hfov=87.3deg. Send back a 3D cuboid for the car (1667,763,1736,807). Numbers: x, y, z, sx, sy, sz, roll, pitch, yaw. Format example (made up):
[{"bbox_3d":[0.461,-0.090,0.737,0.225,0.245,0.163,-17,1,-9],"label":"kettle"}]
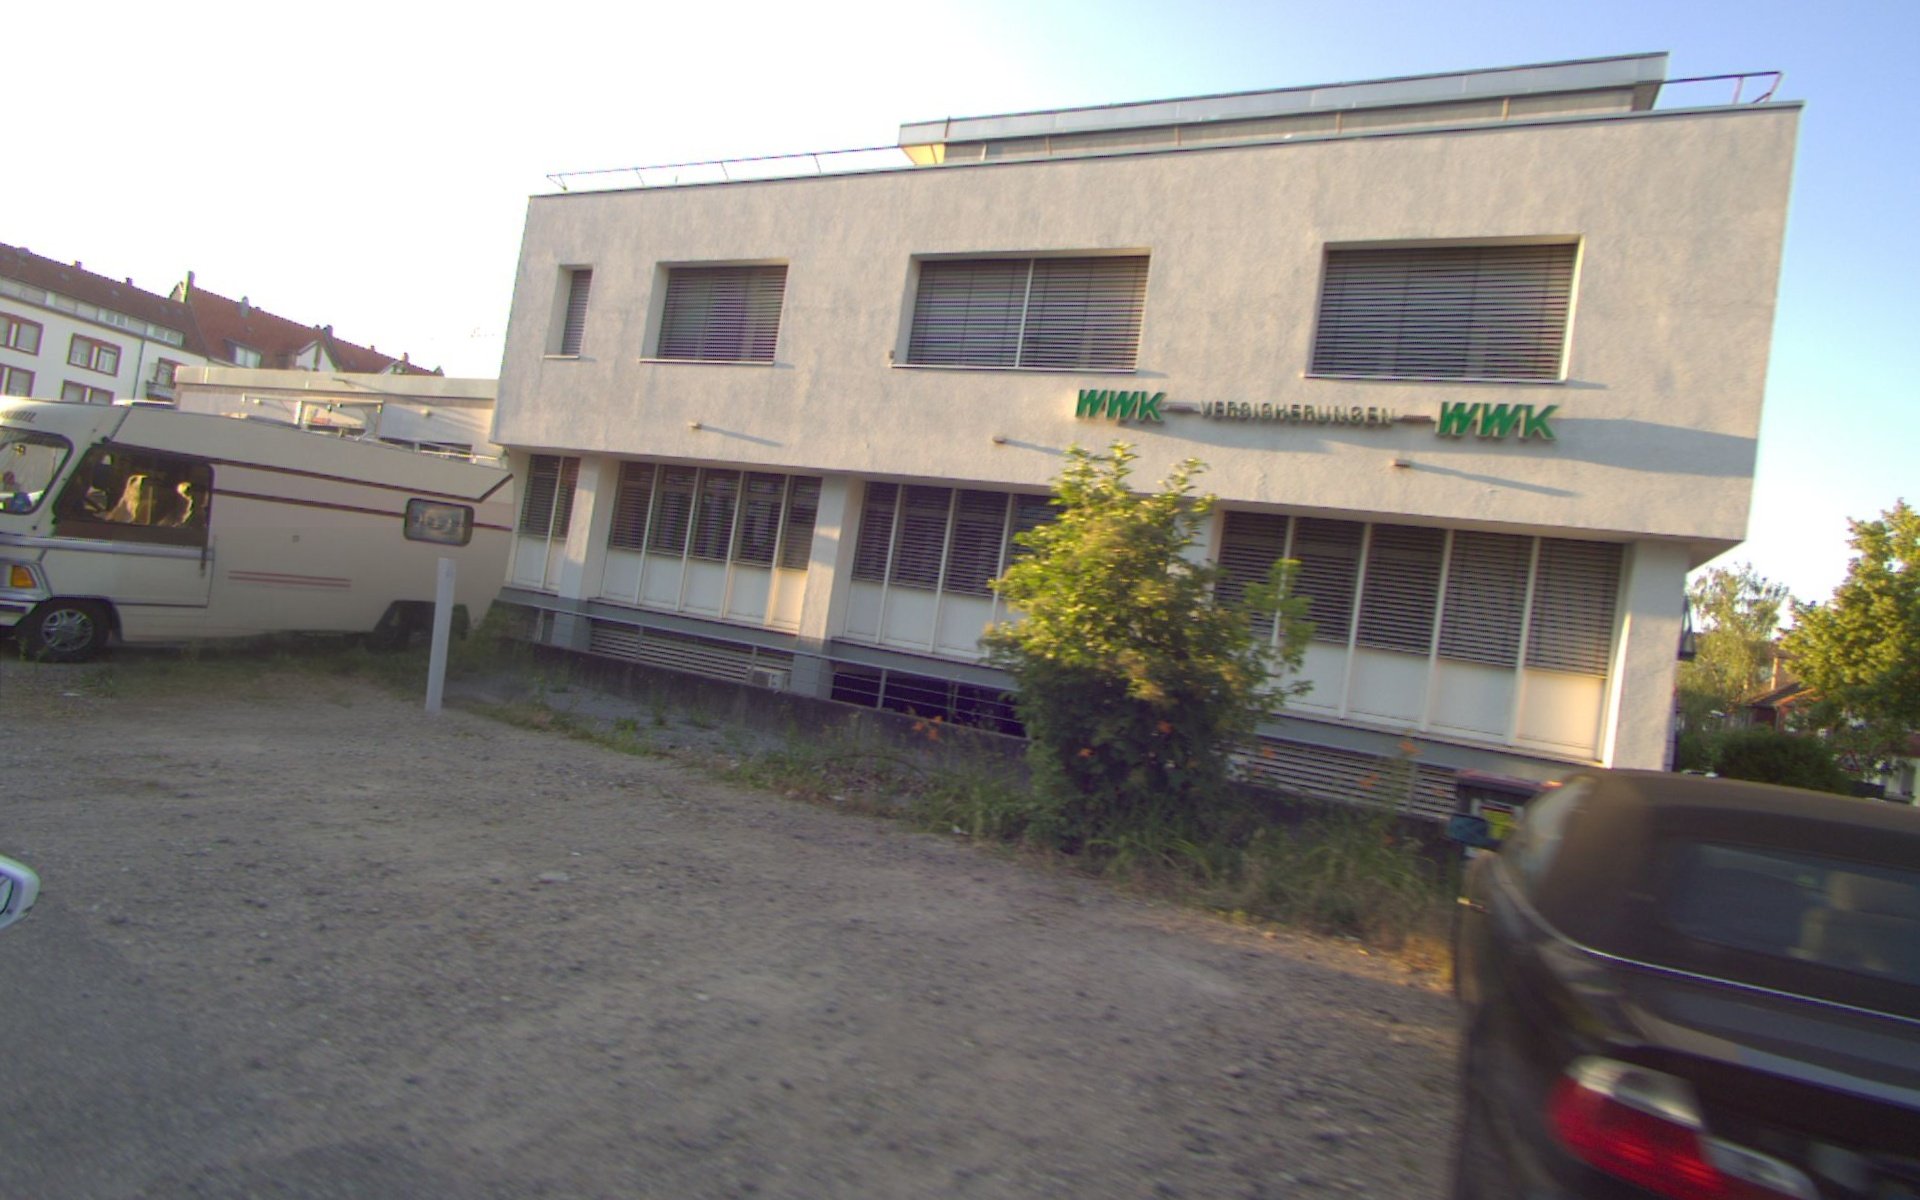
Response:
[{"bbox_3d":[36.430,9.050,49.514,1.777,1.572,3.612,9,-2,24],"label":"car"}]

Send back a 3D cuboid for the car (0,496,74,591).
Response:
[{"bbox_3d":[-17.245,-1.160,16.427,1.682,1.496,3.716,7,-2,27],"label":"car"}]

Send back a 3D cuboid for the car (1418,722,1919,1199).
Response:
[{"bbox_3d":[2.649,1.250,3.337,1.863,1.348,4.328,7,-2,27],"label":"car"}]

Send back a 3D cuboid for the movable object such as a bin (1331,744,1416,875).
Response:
[{"bbox_3d":[3.410,1.703,8.281,0.517,0.942,0.468,7,-1,26],"label":"movable object such as a bin"}]

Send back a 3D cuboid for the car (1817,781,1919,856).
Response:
[{"bbox_3d":[26.387,6.225,28.469,1.922,1.572,4.267,9,-2,24],"label":"car"}]

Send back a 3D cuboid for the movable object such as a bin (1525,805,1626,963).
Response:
[{"bbox_3d":[3.974,1.816,6.521,0.389,0.867,0.501,7,-2,22],"label":"movable object such as a bin"}]

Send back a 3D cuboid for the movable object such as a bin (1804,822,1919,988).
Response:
[{"bbox_3d":[6.246,2.070,6.897,0.517,0.942,0.468,7,-1,26],"label":"movable object such as a bin"}]

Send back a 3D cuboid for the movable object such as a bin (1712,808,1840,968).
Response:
[{"bbox_3d":[5.750,2.009,7.113,0.517,0.942,0.468,7,-1,26],"label":"movable object such as a bin"}]

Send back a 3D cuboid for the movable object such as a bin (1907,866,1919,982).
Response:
[{"bbox_3d":[6.727,2.126,6.622,0.517,0.942,0.468,7,-1,26],"label":"movable object such as a bin"}]

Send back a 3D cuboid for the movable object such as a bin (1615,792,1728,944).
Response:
[{"bbox_3d":[5.229,1.948,7.416,0.517,0.942,0.468,7,-1,26],"label":"movable object such as a bin"}]

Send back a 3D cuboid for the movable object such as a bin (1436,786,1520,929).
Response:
[{"bbox_3d":[3.641,1.796,7.095,0.389,0.867,0.478,7,-2,22],"label":"movable object such as a bin"}]

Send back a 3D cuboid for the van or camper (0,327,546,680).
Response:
[{"bbox_3d":[-8.176,-0.750,11.627,2.444,2.897,5.797,7,-2,28],"label":"van or camper"}]

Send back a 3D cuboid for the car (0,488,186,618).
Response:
[{"bbox_3d":[-13.607,-0.786,14.033,1.681,1.581,4.018,7,-2,25],"label":"car"}]

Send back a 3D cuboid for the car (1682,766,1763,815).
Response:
[{"bbox_3d":[34.272,8.515,45.316,1.922,1.572,3.612,9,-2,24],"label":"car"}]

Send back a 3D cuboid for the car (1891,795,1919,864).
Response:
[{"bbox_3d":[24.228,5.743,23.844,1.922,1.572,3.612,9,-2,24],"label":"car"}]

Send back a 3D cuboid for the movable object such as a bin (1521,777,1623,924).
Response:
[{"bbox_3d":[4.596,1.866,7.585,0.517,0.942,0.468,7,-1,26],"label":"movable object such as a bin"}]

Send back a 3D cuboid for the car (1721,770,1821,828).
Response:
[{"bbox_3d":[31.210,7.616,38.841,1.922,1.572,3.612,9,-2,24],"label":"car"}]

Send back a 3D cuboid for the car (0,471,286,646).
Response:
[{"bbox_3d":[-11.183,-0.563,12.377,1.935,1.761,4.248,6,-2,33],"label":"car"}]

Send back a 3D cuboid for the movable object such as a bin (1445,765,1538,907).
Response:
[{"bbox_3d":[4.103,1.805,7.789,0.517,0.942,0.468,7,-1,26],"label":"movable object such as a bin"}]
